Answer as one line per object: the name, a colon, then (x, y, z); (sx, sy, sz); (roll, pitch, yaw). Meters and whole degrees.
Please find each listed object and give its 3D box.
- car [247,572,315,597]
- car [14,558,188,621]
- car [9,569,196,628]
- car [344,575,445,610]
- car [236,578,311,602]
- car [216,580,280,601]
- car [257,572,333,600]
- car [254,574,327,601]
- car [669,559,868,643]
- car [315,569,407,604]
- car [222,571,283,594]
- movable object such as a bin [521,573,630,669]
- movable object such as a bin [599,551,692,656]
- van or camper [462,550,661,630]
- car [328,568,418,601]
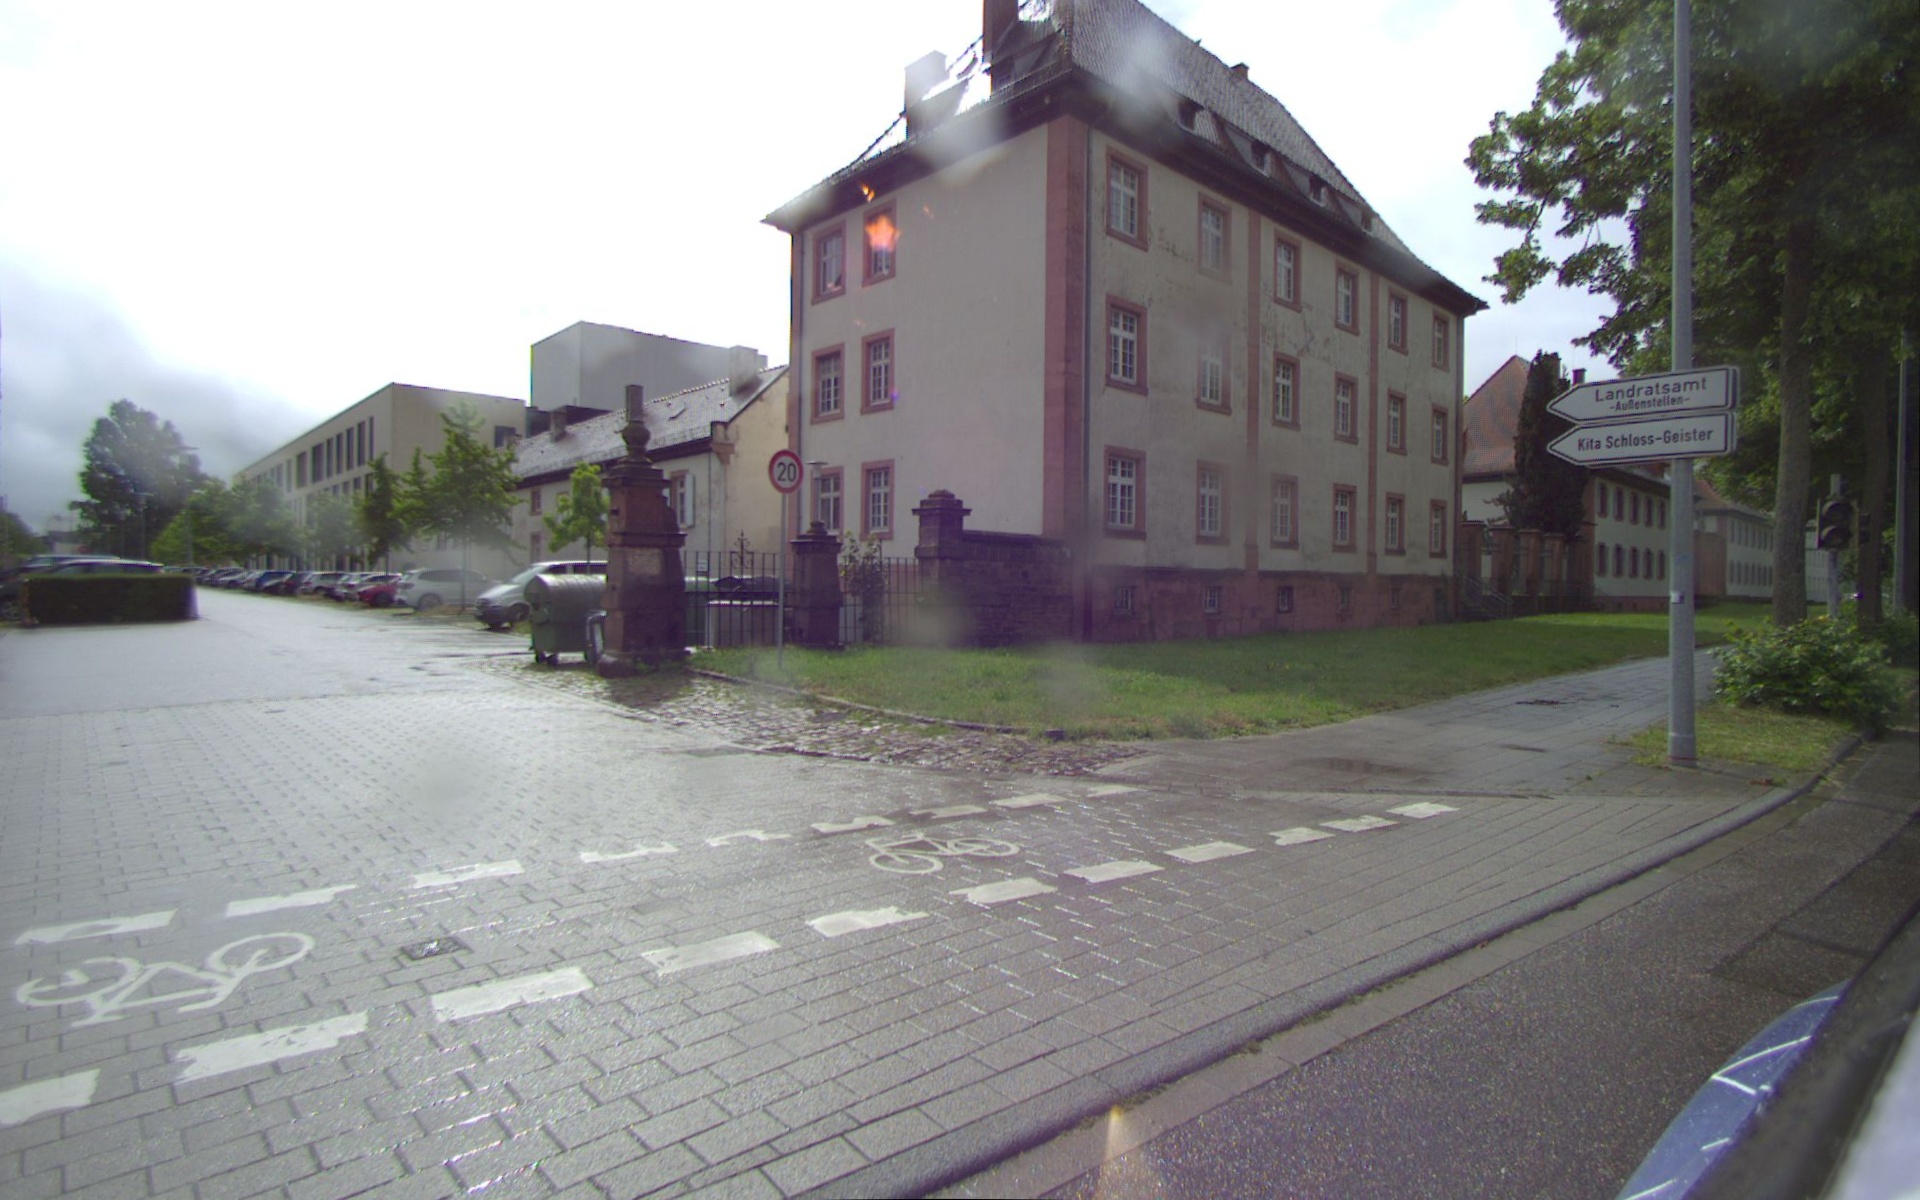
car: (-43.330, -1.005, 64.623); (3.422, 1.489, 1.684); (-2, 0, -41)
car: (-24.839, -0.310, 29.404); (3.740, 1.713, 1.757); (-2, 0, -41)
car: (-23.082, -0.057, 27.372); (3.740, 1.471, 1.757); (-2, 0, -41)
car: (-24.358, -0.323, 43.656); (3.513, 1.394, 1.706); (0, 2, -42)
car: (-45.553, -0.664, 67.142); (3.931, 1.480, 1.784); (-2, 0, -41)
car: (-55.113, -0.731, 78.389); (3.931, 1.480, 1.784); (-2, 0, -41)
car: (-38.210, -0.799, 58.160); (3.422, 1.489, 1.684); (-2, 0, -41)
car: (-39.776, -0.761, 60.181); (3.422, 1.489, 1.684); (-2, 0, -41)
car: (-4.274, -0.005, 22.971); (4.170, 1.744, 1.713); (-1, 1, -42)
car: (-29.940, -0.691, 50.638); (3.710, 1.638, 1.734); (-2, 0, -42)
car: (-50.579, -1.258, 72.334); (3.422, 1.489, 1.684); (-2, 0, -41)
movable object such as a bin: (-6.357, 0.319, 16.738); (1.367, 1.475, 1.108); (0, 2, -42)
movable object such as a bin: (-4.667, 0.035, 15.035); (1.078, 1.475, 0.800); (0, 2, -42)
van or camper: (-11.469, -0.289, 29.414); (5.097, 2.143, 1.791); (0, 0, -42)
car: (-28.481, -0.754, 49.166); (3.513, 1.495, 1.706); (0, 2, -42)
